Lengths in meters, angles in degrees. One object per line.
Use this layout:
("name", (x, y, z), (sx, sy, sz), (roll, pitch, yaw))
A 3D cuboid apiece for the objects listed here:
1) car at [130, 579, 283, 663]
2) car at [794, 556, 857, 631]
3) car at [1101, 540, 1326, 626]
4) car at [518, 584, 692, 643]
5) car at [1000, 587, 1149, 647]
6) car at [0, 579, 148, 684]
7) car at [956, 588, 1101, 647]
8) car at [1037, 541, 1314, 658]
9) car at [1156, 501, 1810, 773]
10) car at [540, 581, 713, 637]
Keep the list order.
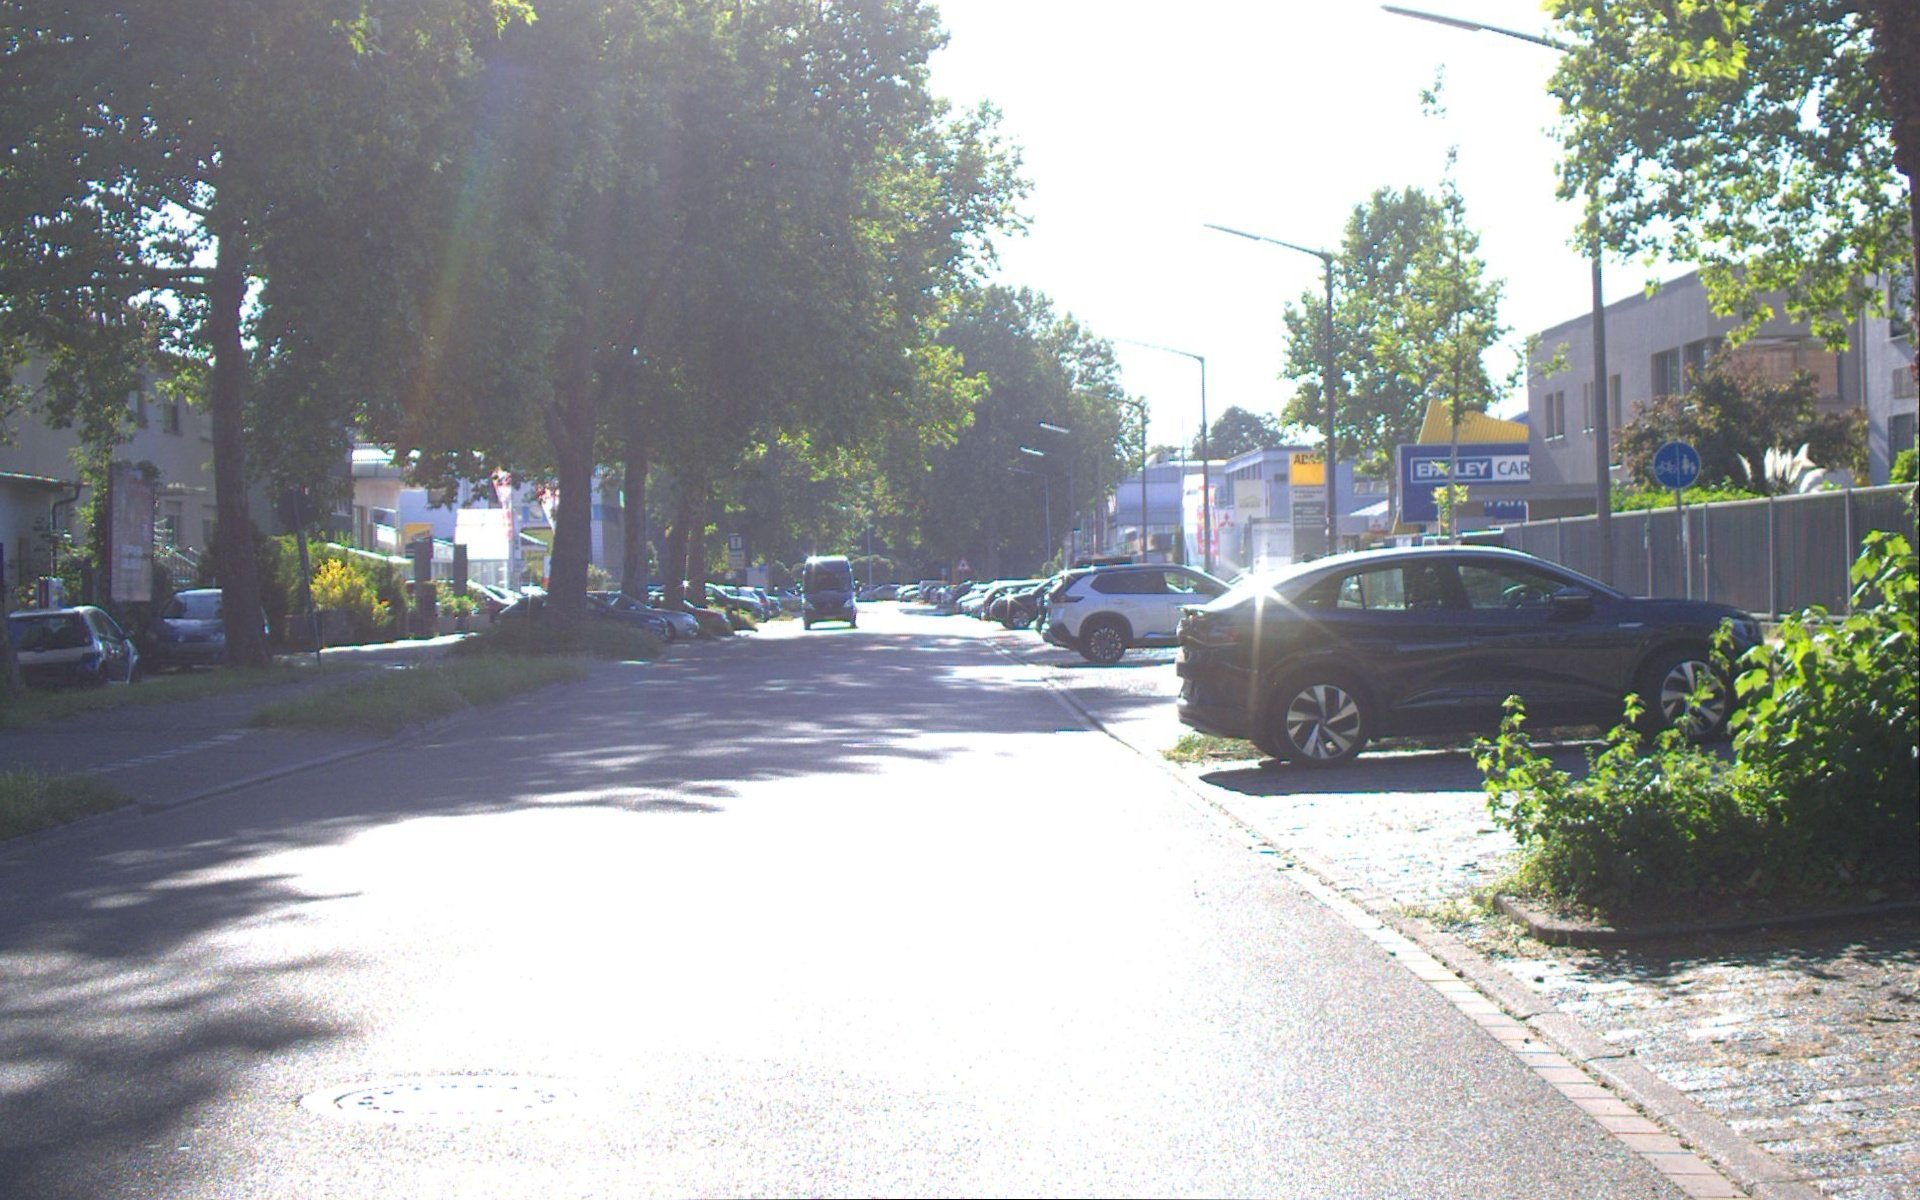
("car", (-14.651, 0.388, 67.062), (1.993, 1.570, 4.273), (0, 0, 1))
("car", (-5.007, -0.291, 129.086), (2.127, 2.650, 7.002), (-2, 1, -1))
("car", (5.524, -0.375, 75.417), (4.624, 1.521, 2.000), (-4, 0, -2))
("car", (-9.161, 0.327, 88.985), (4.353, 1.417, 2.000), (-1, 1, -3))
("car", (3.646, 0.534, 109.449), (4.601, 1.574, 2.000), (-4, 0, 1))
("car", (-13.572, 0.471, 51.734), (1.993, 1.365, 3.921), (-5, 1, -5))
("car", (2.255, 0.577, 113.915), (4.600, 1.608, 2.000), (-4, 0, -1))
("car", (3.789, -0.008, 61.061), (4.624, 1.706, 2.000), (-4, 0, -2))
("car", (3.962, 0.264, 26.531), (4.569, 1.710, 1.944), (-4, 0, -4))
("car", (-9.190, 0.233, 95.014), (4.599, 1.417, 2.000), (-1, 1, -1))
